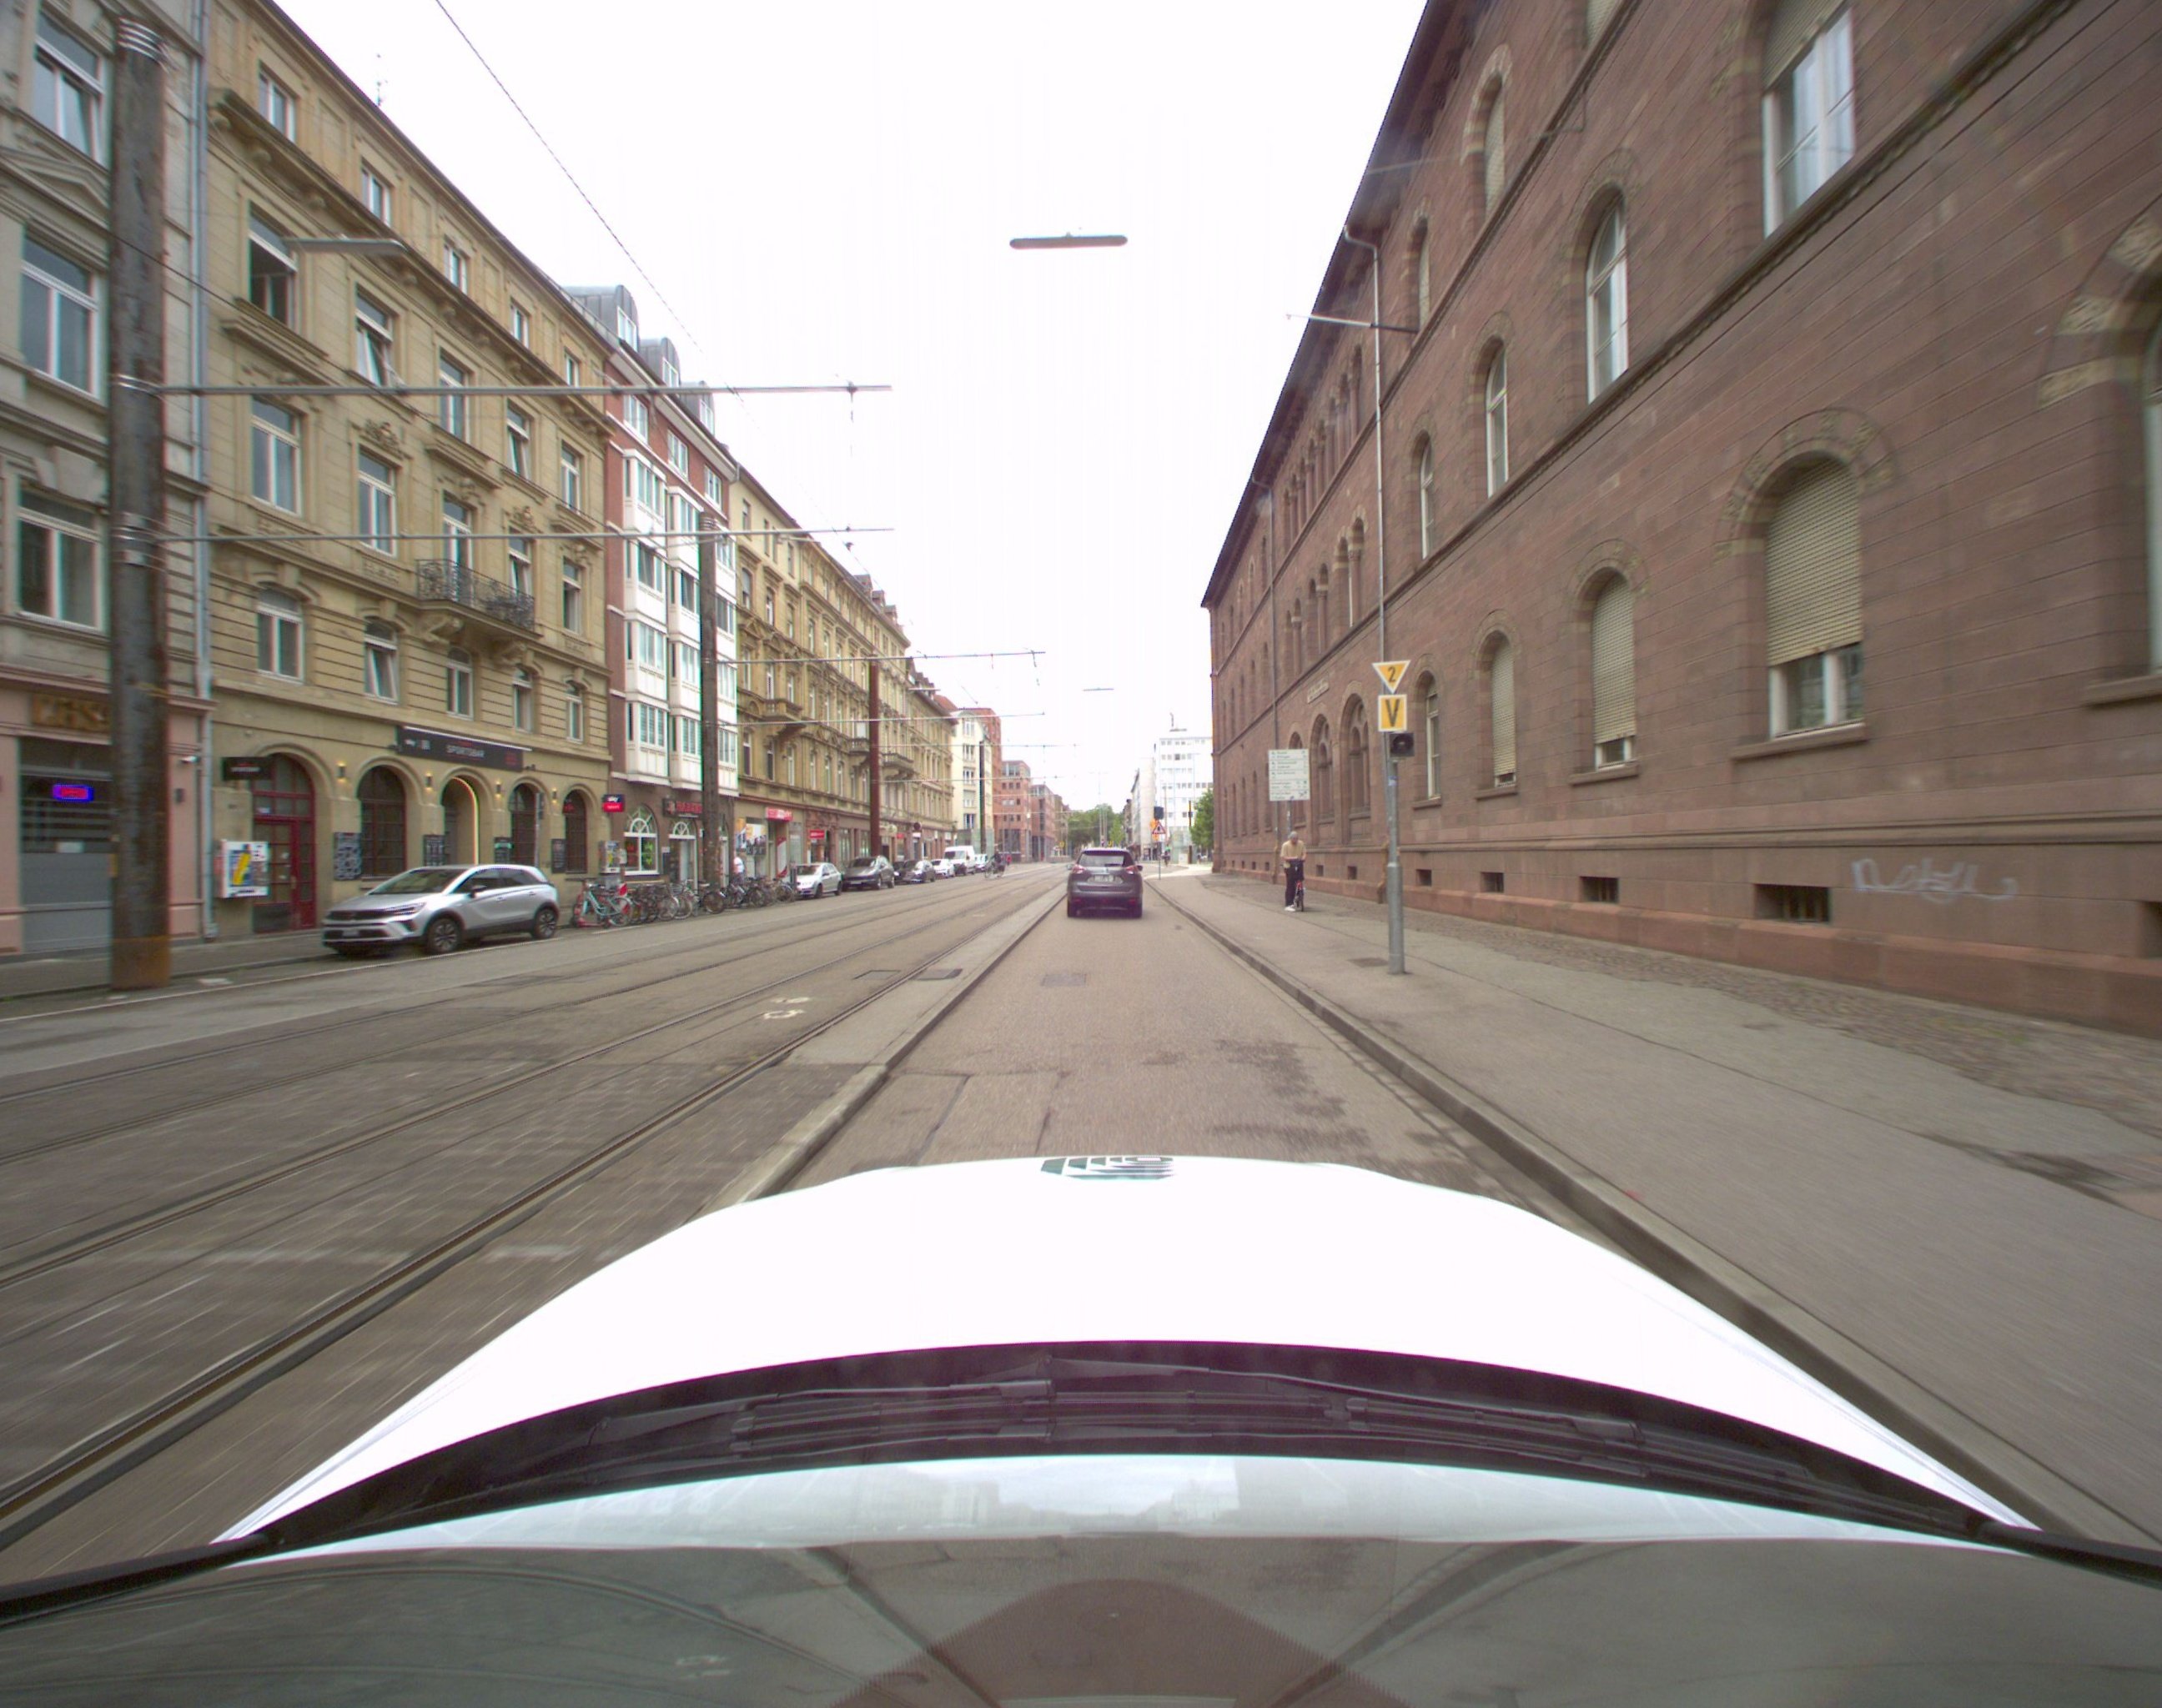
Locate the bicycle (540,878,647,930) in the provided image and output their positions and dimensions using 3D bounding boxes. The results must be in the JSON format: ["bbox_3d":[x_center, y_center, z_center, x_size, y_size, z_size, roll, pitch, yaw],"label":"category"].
[{"bbox_3d":[-11.815,1.204,19.765,2.273,1.203,0.548,-1,0,2],"label":"bicycle"}]

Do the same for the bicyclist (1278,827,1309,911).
[{"bbox_3d":[4.777,0.331,18.350,0.527,1.858,0.450,-2,-1,1],"label":"bicyclist"}]

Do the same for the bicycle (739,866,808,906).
[{"bbox_3d":[-11.345,1.182,30.050,2.273,1.329,0.521,-3,-1,2],"label":"bicycle"}]

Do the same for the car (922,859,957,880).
[{"bbox_3d":[-10.394,1.108,60.115,1.765,1.423,4.165,-3,0,0],"label":"car"}]

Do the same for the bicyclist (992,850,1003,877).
[{"bbox_3d":[-5.752,0.667,56.218,0.642,1.883,1.029,0,-1,3],"label":"bicyclist"}]

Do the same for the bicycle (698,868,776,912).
[{"bbox_3d":[-11.531,1.190,27.314,2.273,1.329,0.666,-3,-1,2],"label":"bicycle"}]

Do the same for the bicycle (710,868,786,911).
[{"bbox_3d":[-11.491,1.209,28.142,2.273,1.329,0.666,-3,-1,2],"label":"bicycle"}]

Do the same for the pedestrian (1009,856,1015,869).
[{"bbox_3d":[-9.592,1.166,113.160,0.720,1.687,0.660,-1,-2,-9],"label":"pedestrian"}]

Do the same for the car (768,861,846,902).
[{"bbox_3d":[-11.144,1.079,33.347,1.737,1.488,3.921,-2,0,1],"label":"car"}]

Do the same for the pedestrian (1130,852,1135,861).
[{"bbox_3d":[10.229,0.552,161.768,0.731,1.746,0.662,0,-1,-6],"label":"pedestrian"}]

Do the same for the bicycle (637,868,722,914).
[{"bbox_3d":[-11.800,1.070,23.960,2.273,1.294,0.448,1,0,2],"label":"bicycle"}]

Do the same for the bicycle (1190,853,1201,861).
[{"bbox_3d":[14.288,0.360,101.654,0.651,0.978,1.765,-2,-1,30],"label":"bicycle"}]

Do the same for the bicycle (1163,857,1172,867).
[{"bbox_3d":[9.444,0.878,89.220,0.897,1.045,3.281,-1,-1,4],"label":"bicycle"}]

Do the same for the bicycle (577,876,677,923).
[{"bbox_3d":[-11.773,1.168,21.133,2.273,1.203,0.540,0,-2,2],"label":"bicycle"}]

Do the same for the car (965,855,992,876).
[{"bbox_3d":[-9.898,1.069,78.735,1.896,1.864,4.520,-3,0,0],"label":"car"}]

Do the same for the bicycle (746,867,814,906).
[{"bbox_3d":[-11.366,1.203,30.773,2.273,1.329,0.666,-3,-1,2],"label":"bicycle"}]

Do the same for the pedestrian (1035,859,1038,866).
[{"bbox_3d":[-9.627,1.827,175.295,0.450,1.532,0.519,0,-1,-16],"label":"pedestrian"}]

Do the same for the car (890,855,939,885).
[{"bbox_3d":[-10.262,0.960,50.588,1.913,1.689,5.052,-3,0,0],"label":"car"}]

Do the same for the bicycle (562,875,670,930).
[{"bbox_3d":[-11.650,1.207,20.447,2.273,1.203,0.705,-3,-1,2],"label":"bicycle"}]

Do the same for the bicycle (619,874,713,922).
[{"bbox_3d":[-11.830,1.250,23.241,2.273,1.203,0.666,-3,-1,2],"label":"bicycle"}]

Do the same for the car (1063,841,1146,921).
[{"bbox_3d":[0.699,0.600,21.090,1.855,1.774,4.572,2,1,4],"label":"car"}]

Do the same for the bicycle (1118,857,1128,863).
[{"bbox_3d":[8.450,1.270,162.571,1.869,1.172,0.528,0,-1,-13],"label":"bicycle"}]

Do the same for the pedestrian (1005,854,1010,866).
[{"bbox_3d":[-9.914,0.800,109.992,0.660,1.687,0.720,-1,-2,-11],"label":"pedestrian"}]

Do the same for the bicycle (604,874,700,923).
[{"bbox_3d":[-11.852,1.227,22.527,2.273,1.203,0.666,-3,-1,2],"label":"bicycle"}]

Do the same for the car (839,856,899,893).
[{"bbox_3d":[-10.787,0.990,41.819,1.808,1.690,5.029,-2,0,-1],"label":"car"}]

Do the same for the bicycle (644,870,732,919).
[{"bbox_3d":[-11.795,1.209,24.494,2.273,1.329,0.666,-3,-1,2],"label":"bicycle"}]

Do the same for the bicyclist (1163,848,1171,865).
[{"bbox_3d":[9.429,0.256,89.116,0.830,1.812,0.878,0,-1,4],"label":"bicyclist"}]

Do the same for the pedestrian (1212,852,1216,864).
[{"bbox_3d":[17.918,0.575,109.913,0.431,1.556,0.499,0,-1,2],"label":"pedestrian"}]

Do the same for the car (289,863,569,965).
[{"bbox_3d":[-11.940,0.999,15.364,1.737,1.533,4.226,-2,0,1],"label":"car"}]

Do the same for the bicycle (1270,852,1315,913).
[{"bbox_3d":[4.790,0.624,18.598,0.443,1.276,2.227,-3,-1,1],"label":"bicycle"}]

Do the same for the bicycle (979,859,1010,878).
[{"bbox_3d":[-5.939,0.999,56.097,2.053,1.174,0.580,-2,-1,-35],"label":"bicycle"}]

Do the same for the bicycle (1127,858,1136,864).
[{"bbox_3d":[10.056,1.389,162.265,1.697,1.065,0.435,0,-1,-12],"label":"bicycle"}]

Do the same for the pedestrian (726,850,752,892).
[{"bbox_3d":[-14.593,0.714,34.722,0.646,1.782,0.790,-1,-1,38],"label":"pedestrian"}]

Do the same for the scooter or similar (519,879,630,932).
[{"bbox_3d":[-11.890,1.196,19.131,2.273,1.203,0.548,0,0,2],"label":"scooter or similar"}]

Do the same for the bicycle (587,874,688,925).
[{"bbox_3d":[-11.834,1.215,21.750,2.273,1.203,0.705,-3,-1,2],"label":"bicycle"}]

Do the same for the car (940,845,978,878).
[{"bbox_3d":[-10.136,0.602,67.985,2.046,2.487,5.666,-3,0,1],"label":"car"}]

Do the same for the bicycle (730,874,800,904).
[{"bbox_3d":[-11.379,1.254,29.385,2.273,1.041,0.620,-1,0,2],"label":"bicycle"}]
